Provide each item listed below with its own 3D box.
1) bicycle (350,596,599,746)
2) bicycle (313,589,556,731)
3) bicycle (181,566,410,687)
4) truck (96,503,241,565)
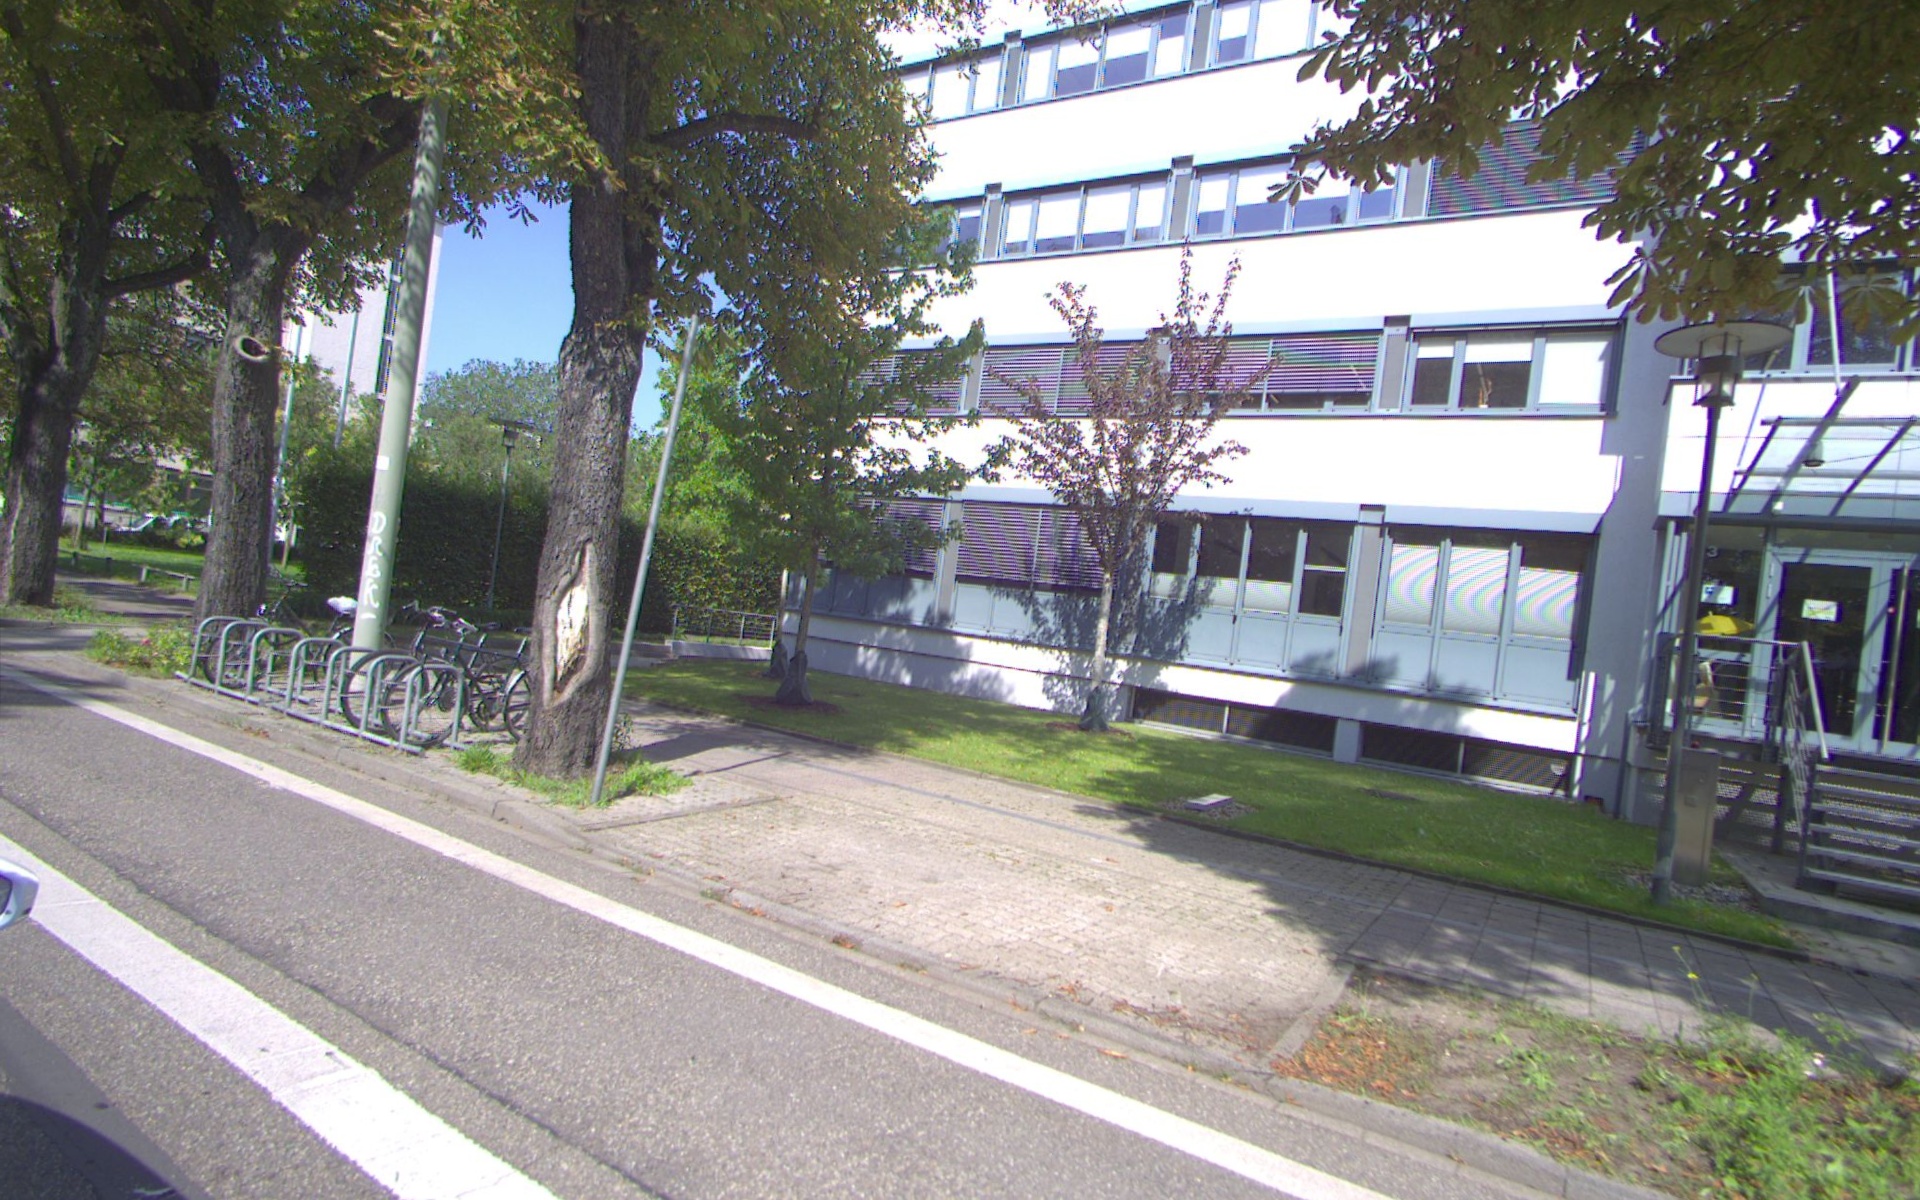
[{"bbox_3d":[-3.956,0.594,8.358,0.531,1.062,1.774,7,0,31],"label":"bicycle"},{"bbox_3d":[-4.494,0.536,8.750,0.531,1.062,1.774,7,0,31],"label":"bicycle"},{"bbox_3d":[-6.557,0.304,10.030,0.531,1.062,1.774,7,0,31],"label":"bicycle"},{"bbox_3d":[-42.419,-3.476,54.044,2.261,2.352,5.516,7,-2,33],"label":"truck"}]
